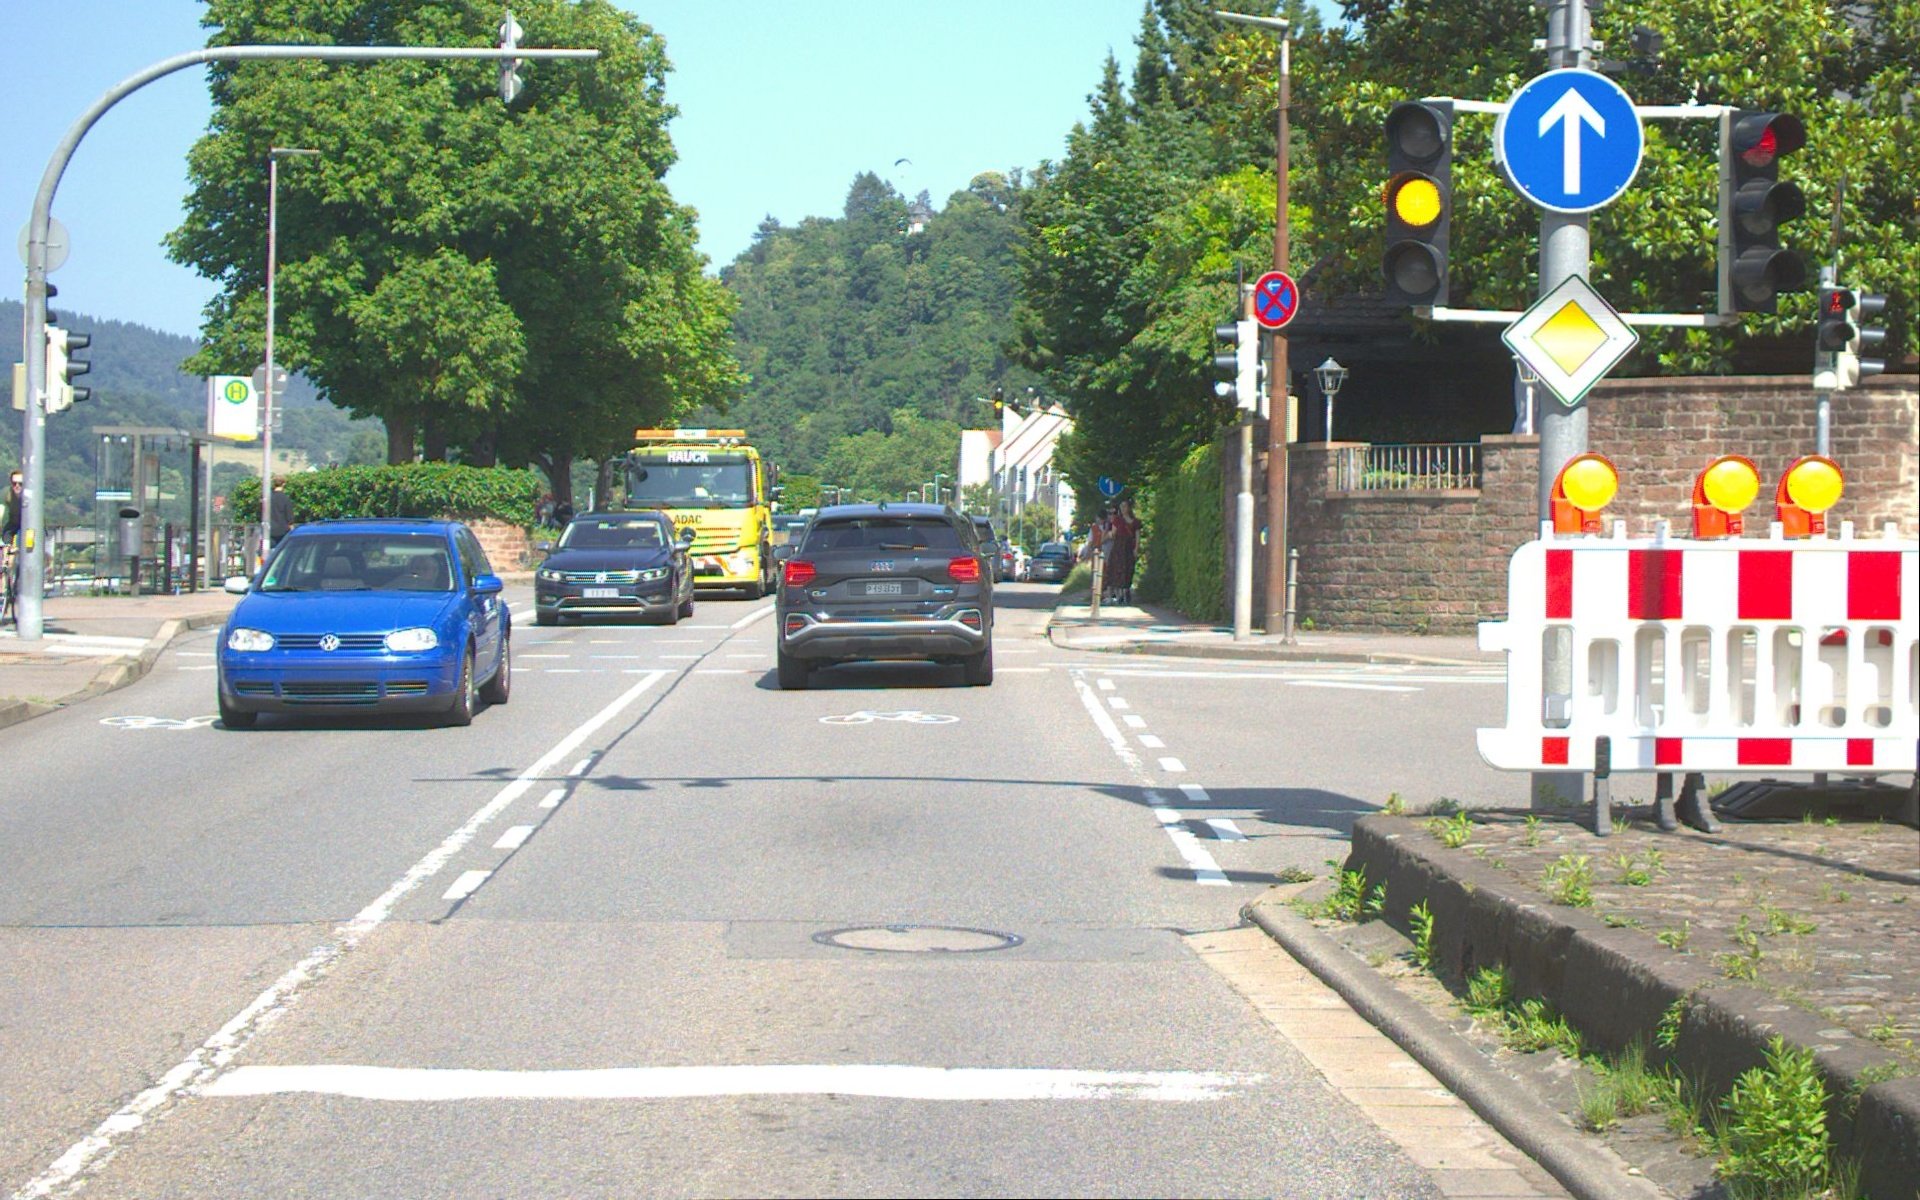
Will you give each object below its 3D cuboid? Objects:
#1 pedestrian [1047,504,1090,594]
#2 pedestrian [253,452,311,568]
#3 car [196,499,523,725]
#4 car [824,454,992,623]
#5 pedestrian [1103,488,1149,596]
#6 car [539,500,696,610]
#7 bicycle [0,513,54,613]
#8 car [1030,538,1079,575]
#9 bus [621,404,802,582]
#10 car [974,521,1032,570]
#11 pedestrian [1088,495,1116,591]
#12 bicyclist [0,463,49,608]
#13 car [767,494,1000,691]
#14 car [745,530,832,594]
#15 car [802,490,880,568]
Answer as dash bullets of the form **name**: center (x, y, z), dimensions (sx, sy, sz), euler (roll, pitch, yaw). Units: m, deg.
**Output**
- **pedestrian**: center (2.031, -0.956, 64.379), dimensions (0.728, 1.644, 0.882), euler (-2, 1, 3)
- **pedestrian**: center (-11.442, -1.513, 58.063), dimensions (0.753, 1.911, 1.009), euler (0, -1, 1)
- **car**: center (-4.244, 0.034, 24.894), dimensions (1.729, 1.485, 4.326), euler (0, 1, -2)
- **car**: center (-0.644, -0.719, 42.986), dimensions (1.993, 2.007, 4.000), euler (0, 0, -1)
- **pedestrian**: center (2.697, -0.952, 55.953), dimensions (0.681, 1.736, 0.913), euler (1, 2, 1)
- **car**: center (-4.569, -0.640, 46.392), dimensions (1.808, 1.401, 4.357), euler (0, 2, -2)
- **bicycle**: center (-10.803, -0.429, 39.265), dimensions (0.666, 1.109, 2.035), euler (0, 1, -9)
- **car**: center (3.936, -1.791, 143.596), dimensions (1.993, 1.448, 4.008), euler (0, 0, 1)
- **bus**: center (-4.250, -1.868, 60.339), dimensions (2.597, 2.886, 8.448), euler (0, 2, 0)
- **car**: center (1.376, -1.760, 109.931), dimensions (1.795, 1.477, 4.000), euler (1, 1, 1)
- **pedestrian**: center (2.378, -0.964, 57.651), dimensions (0.455, 1.600, 0.579), euler (0, 1, 1)
- **bicyclist**: center (-10.805, -0.739, 39.244), dimensions (0.666, 1.626, 0.980), euler (0, 1, -9)
- **car**: center (-0.655, -0.122, 29.505), dimensions (1.857, 1.518, 4.001), euler (0, 3, -1)
- **car**: center (-4.052, -0.922, 81.885), dimensions (1.815, 1.393, 4.347), euler (0, 2, 1)
- **car**: center (-3.612, -2.207, 105.084), dimensions (2.096, 2.294, 5.869), euler (0, 2, 1)
